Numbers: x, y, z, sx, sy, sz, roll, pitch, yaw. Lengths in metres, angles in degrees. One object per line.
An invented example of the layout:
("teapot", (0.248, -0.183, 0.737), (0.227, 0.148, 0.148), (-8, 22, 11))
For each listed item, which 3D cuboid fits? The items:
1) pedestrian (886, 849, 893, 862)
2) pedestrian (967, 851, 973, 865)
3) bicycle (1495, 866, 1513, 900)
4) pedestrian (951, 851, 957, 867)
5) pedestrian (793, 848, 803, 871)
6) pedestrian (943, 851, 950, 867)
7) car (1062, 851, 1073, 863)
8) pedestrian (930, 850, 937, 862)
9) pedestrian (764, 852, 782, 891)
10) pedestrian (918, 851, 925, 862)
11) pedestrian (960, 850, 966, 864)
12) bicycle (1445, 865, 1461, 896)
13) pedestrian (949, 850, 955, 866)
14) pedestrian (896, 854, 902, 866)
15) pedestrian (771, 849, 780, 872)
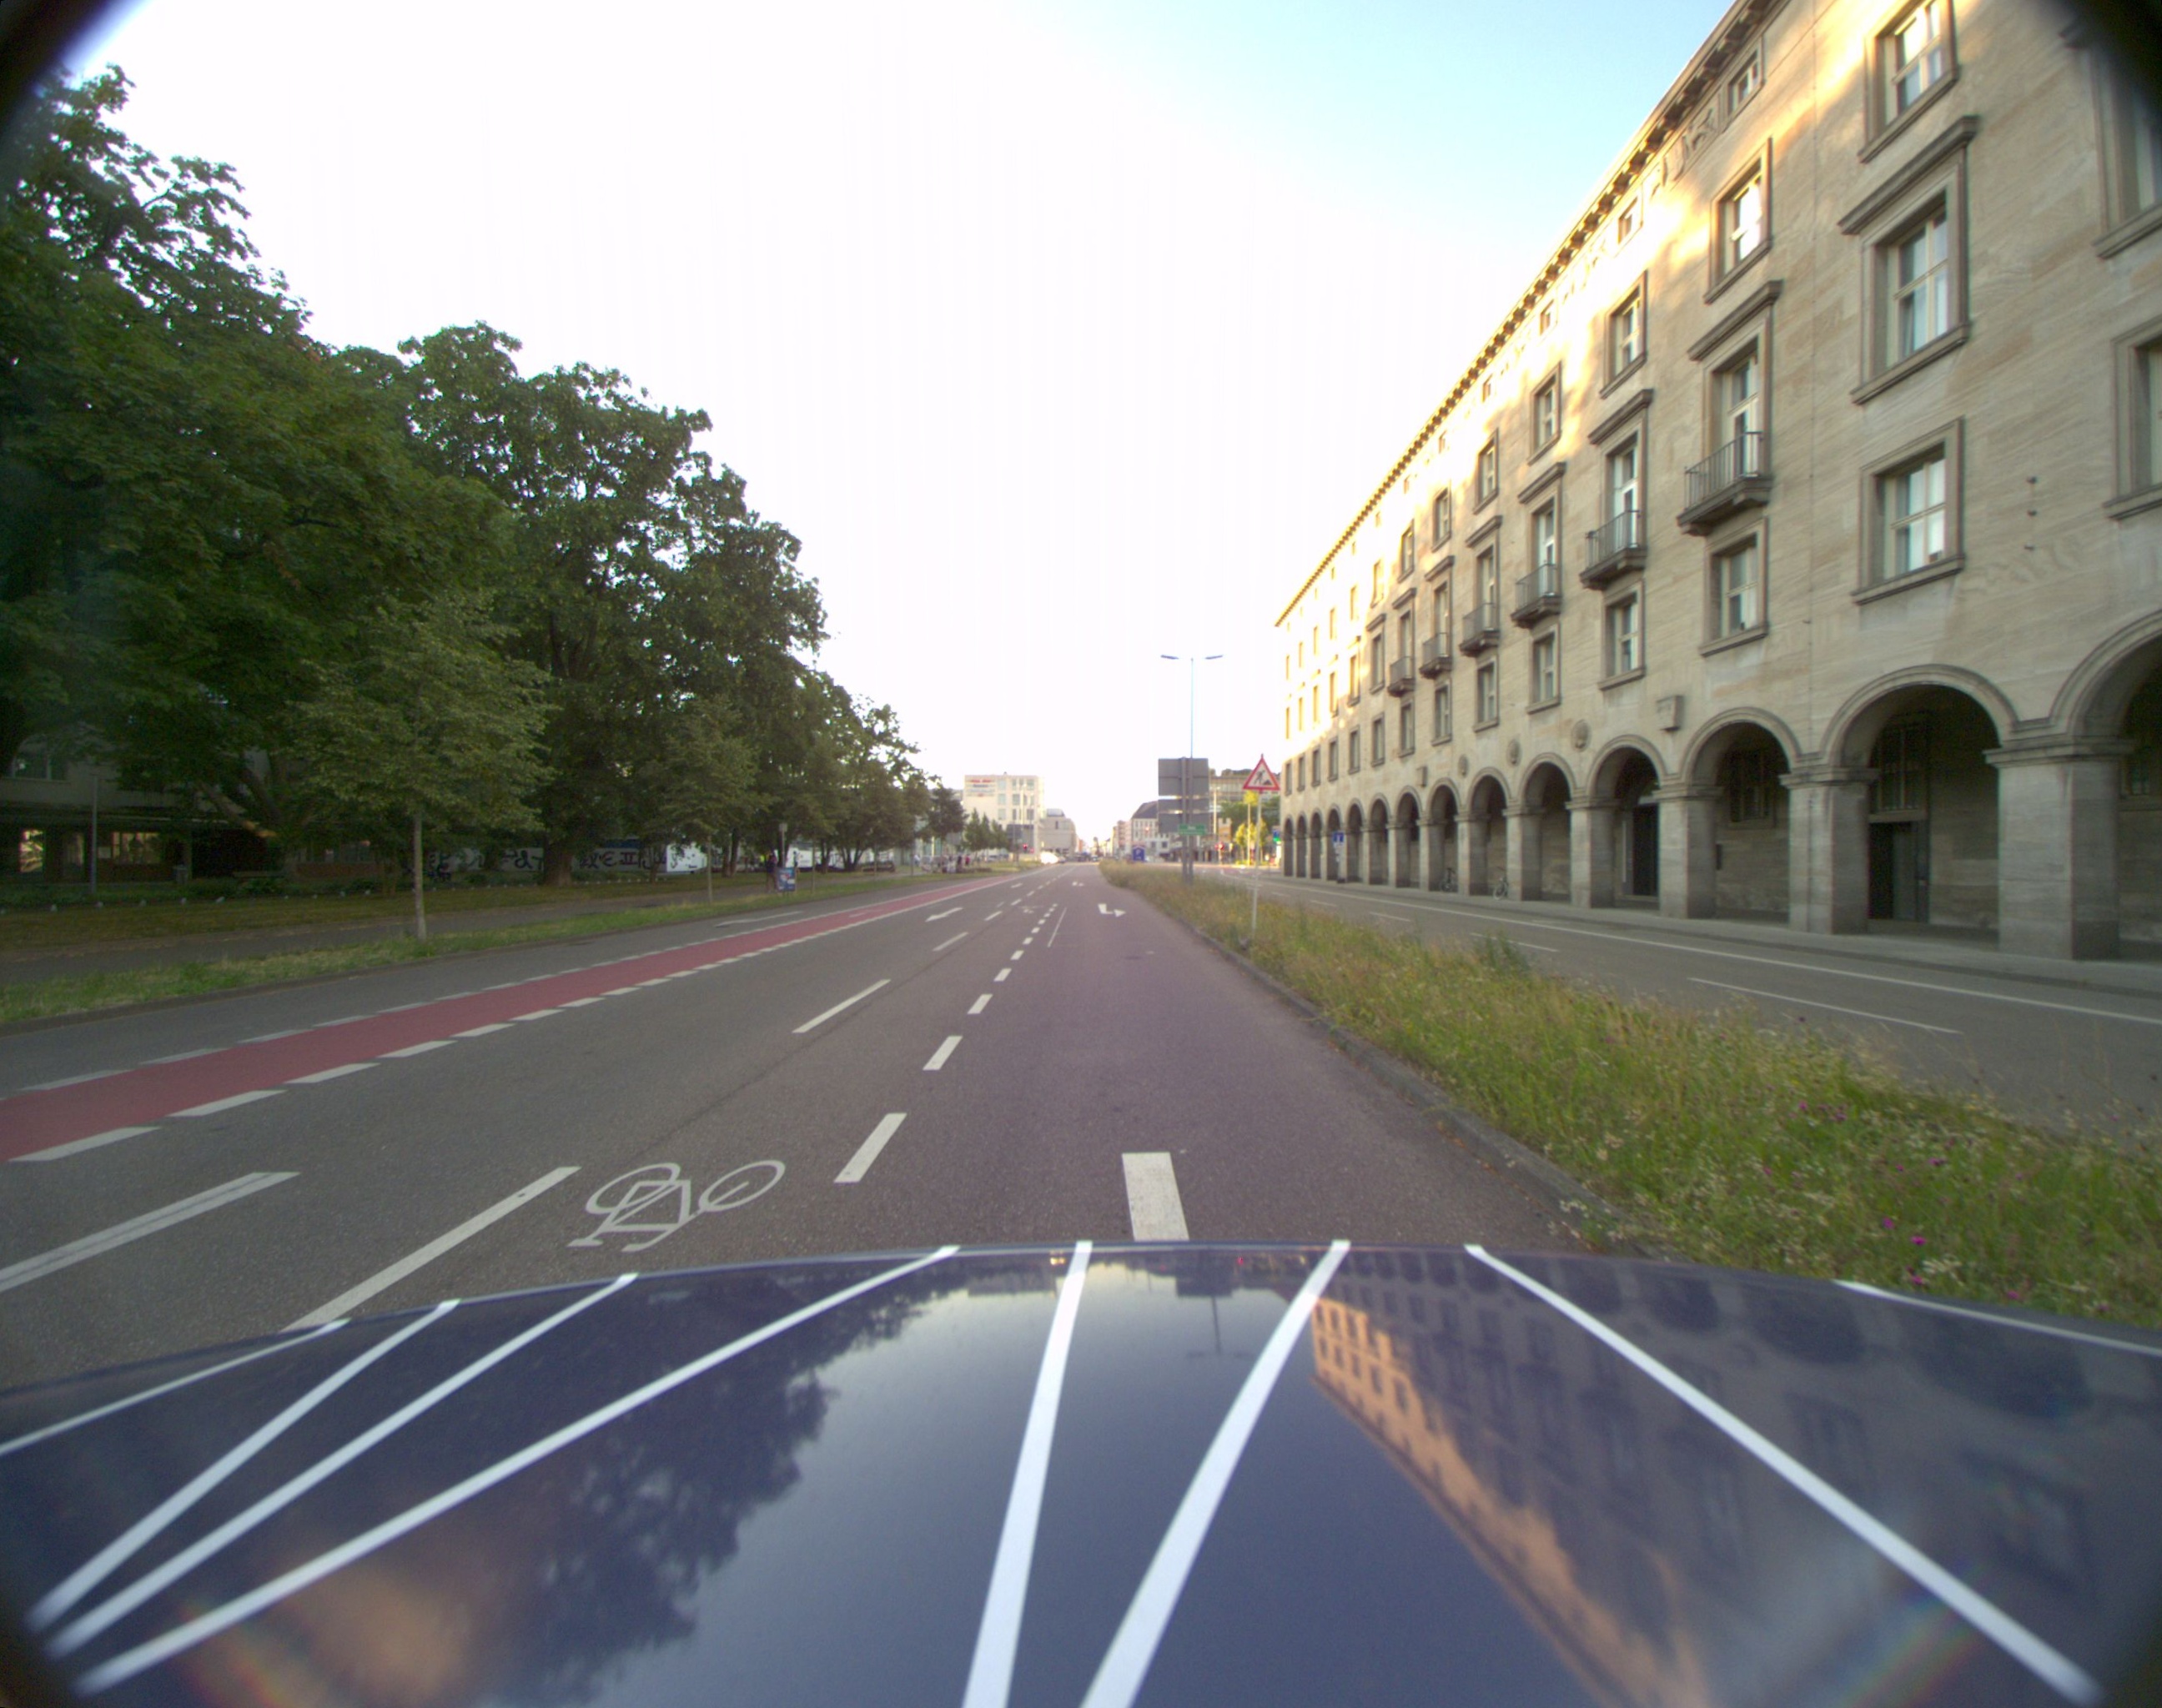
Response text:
("pedestrian", (-21.165, 0.166, 83.960), (0.519, 1.347, 0.773), (0, 1, 1))
("pedestrian", (-13.306, 0.485, 91.310), (0.638, 1.747, 0.506), (0, 1, 1))
("bicycle", (15.436, 1.022, 27.708), (0.513, 1.115, 2.427), (0, 1, 30))
("pedestrian", (-13.100, 0.512, 78.490), (0.509, 1.720, 0.719), (0, 1, 1))
("pedestrian", (-19.522, 0.350, 52.436), (0.500, 1.592, 0.522), (0, 1, 1))
("pedestrian", (-14.343, 0.531, 81.083), (0.519, 1.720, 0.719), (0, 1, 1))
("car", (-2.207, 0.448, 126.536), (1.767, 1.877, 4.499), (0, 0, -1))
("pedestrian", (-17.316, 0.231, 89.317), (0.662, 1.347, 0.559), (0, 1, 1))
("pedestrian", (-14.013, 0.786, 34.600), (0.558, 1.729, 0.555), (0, 1, 1))
("pedestrian", (-18.839, 0.295, 89.703), (0.728, 1.347, 0.614), (0, 1, 1))
("pedestrian", (-14.183, 0.353, 91.501), (0.638, 1.747, 0.506), (0, 1, 1))
("bicycle", (15.093, 1.040, 30.846), (0.513, 1.172, 2.427), (0, 0, 25))
("pedestrian", (-13.772, 0.448, 81.134), (0.509, 1.720, 0.719), (0, 1, 1))
("pedestrian", (-20.170, 0.683, 84.138), (0.519, 1.347, 0.773), (0, 1, 1))
("pedestrian", (-20.955, 0.421, 52.089), (0.500, 1.592, 0.365), (0, 1, 1))
